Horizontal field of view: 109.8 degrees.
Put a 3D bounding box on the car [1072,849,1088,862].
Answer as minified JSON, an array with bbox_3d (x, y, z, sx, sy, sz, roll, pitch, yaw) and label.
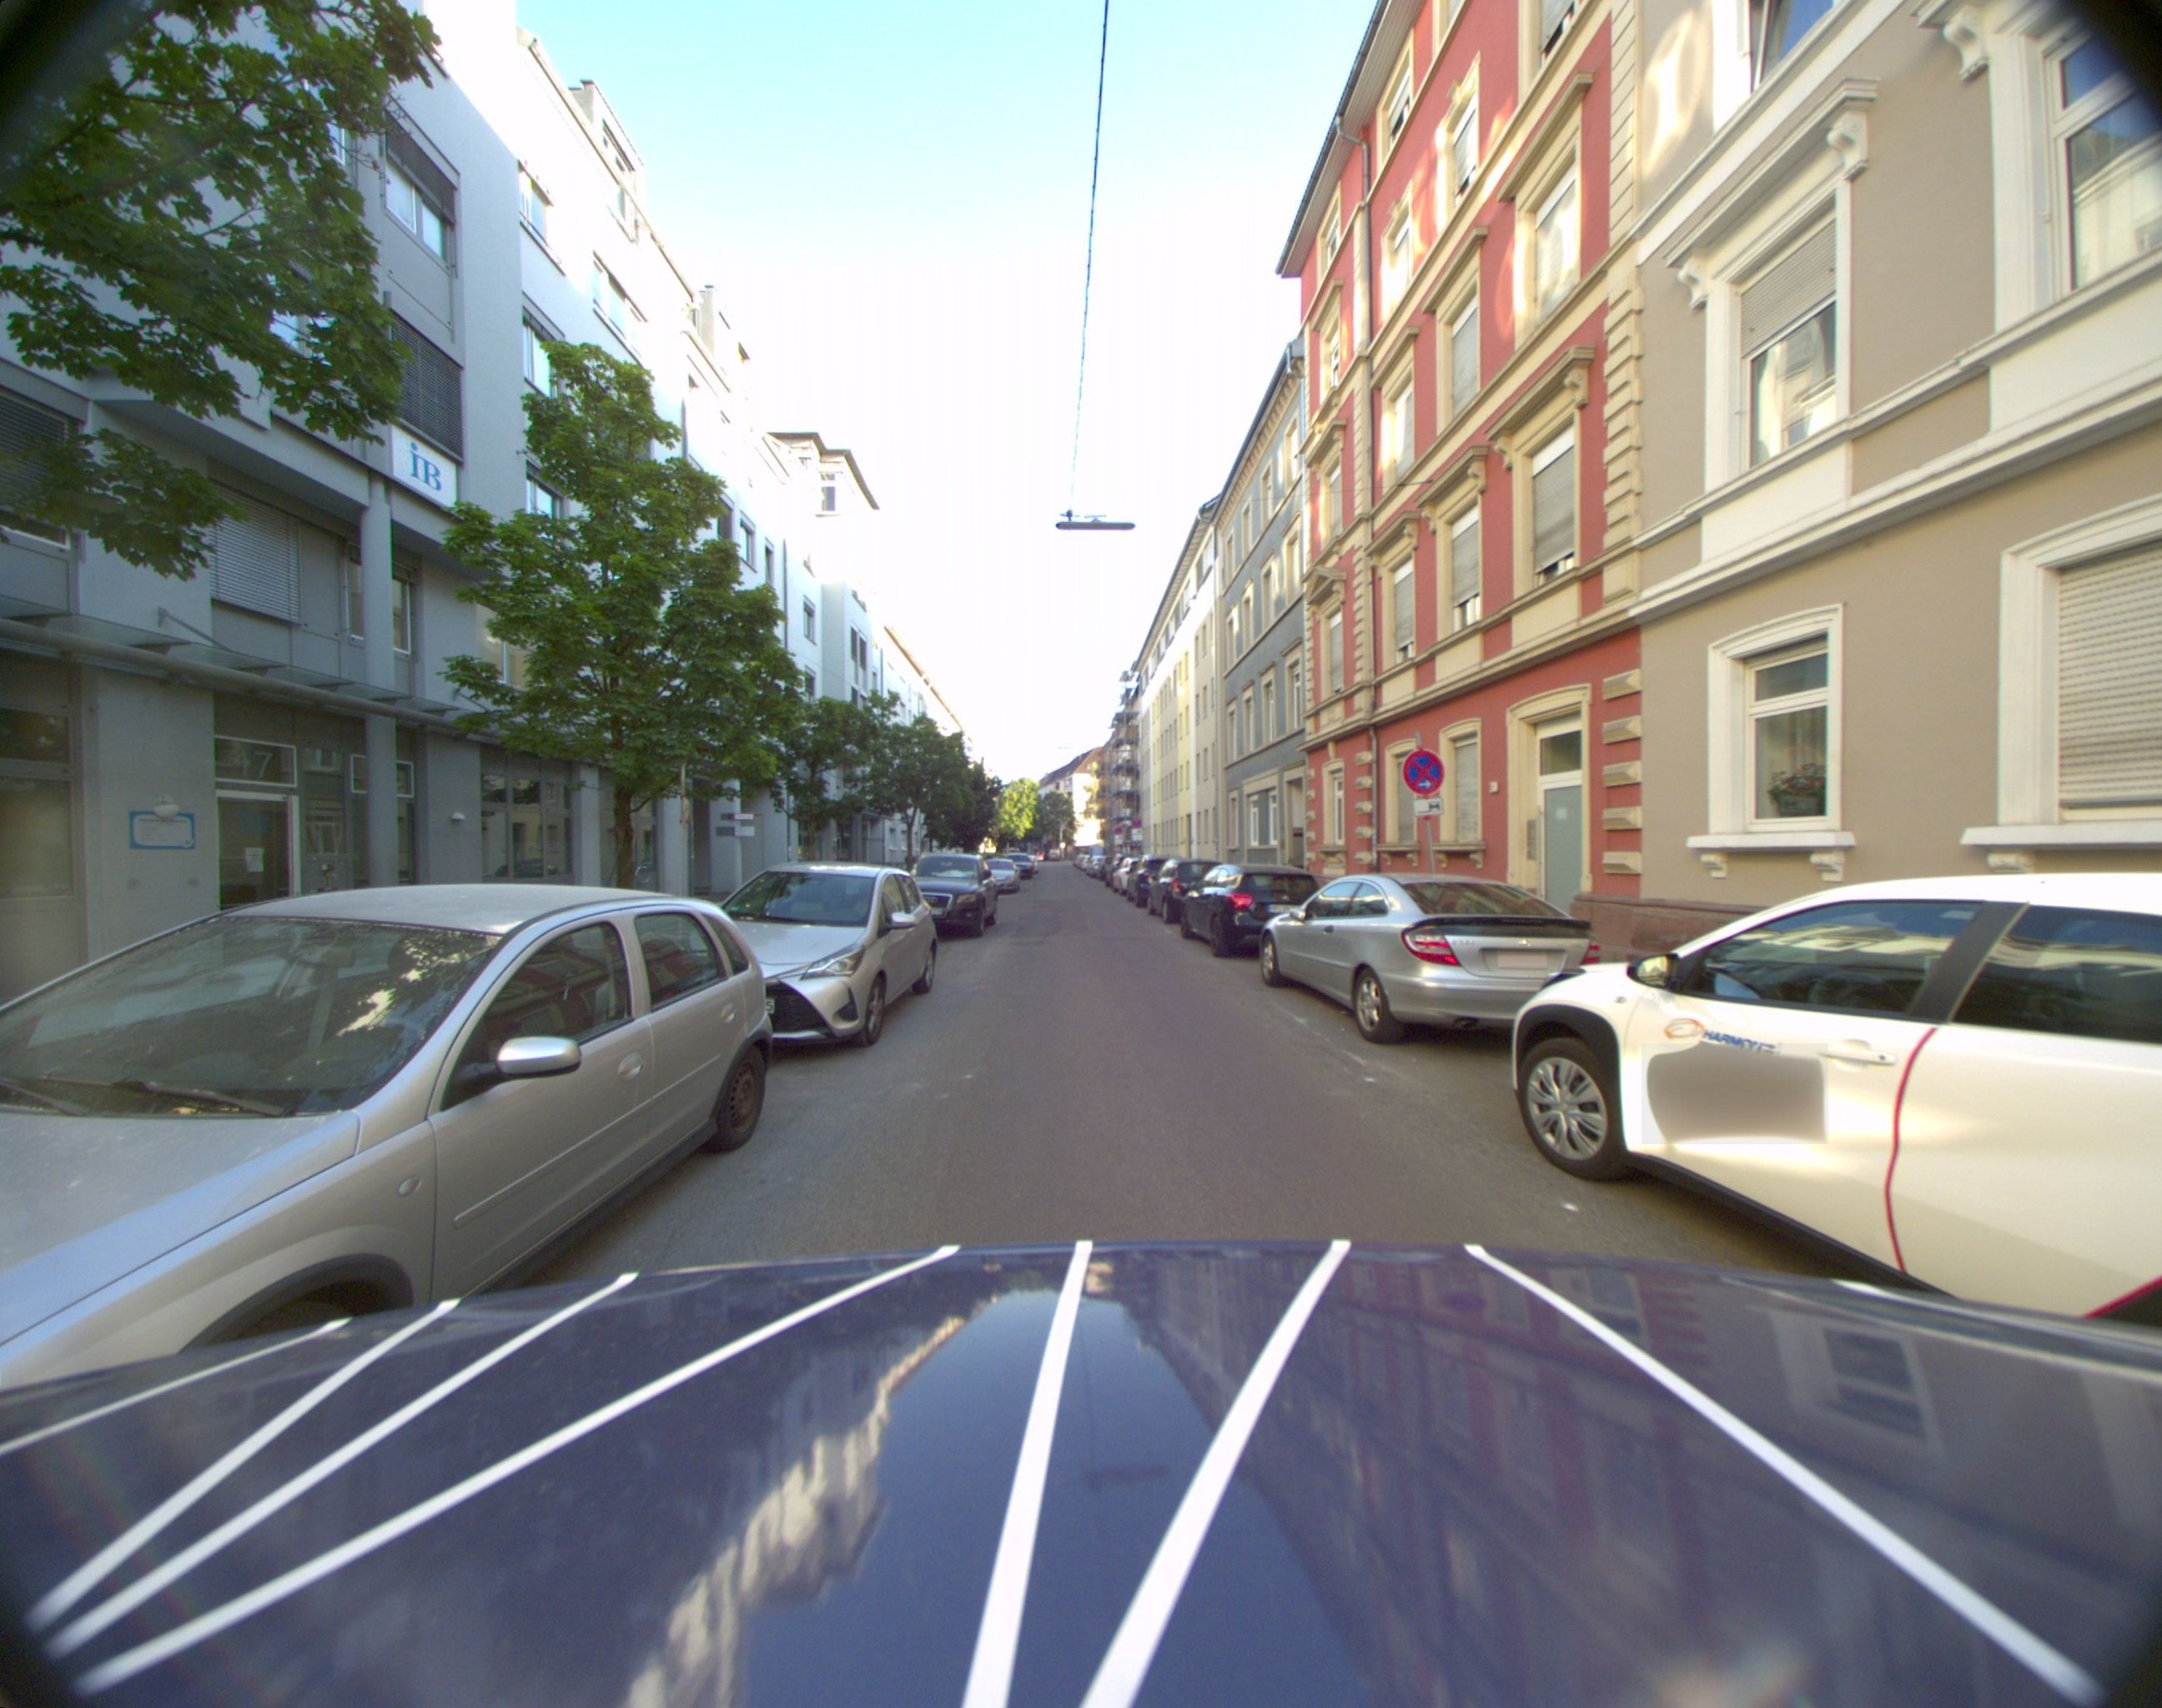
[{"bbox_3d":[-0.173,0.179,102.454,1.999,1.783,3.999,-1,0,-2],"label":"car"}]

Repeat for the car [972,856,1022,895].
[{"bbox_3d":[-3.527,0.859,32.599,1.856,1.480,3.998,-1,0,-3],"label":"car"}]

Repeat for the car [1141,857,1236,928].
[{"bbox_3d":[2.549,0.859,18.917,1.537,1.490,4.194,1,1,-3],"label":"car"}]

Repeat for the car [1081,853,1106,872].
[{"bbox_3d":[1.110,0.738,69.741,1.999,1.576,4.492,-1,1,-3],"label":"car"}]

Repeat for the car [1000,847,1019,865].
[{"bbox_3d":[-8.296,0.162,88.339,1.999,2.002,3.998,-1,1,-3],"label":"car"}]

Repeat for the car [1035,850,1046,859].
[{"bbox_3d":[-7.044,0.118,132.306,1.703,1.537,3.829,-3,1,-1],"label":"car"}]

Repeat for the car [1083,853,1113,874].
[{"bbox_3d":[1.185,0.660,54.858,1.999,1.437,3.999,-1,0,-2],"label":"car"}]

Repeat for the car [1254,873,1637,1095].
[{"bbox_3d":[3.053,0.986,7.390,1.614,1.420,3.960,2,1,-3],"label":"car"}]

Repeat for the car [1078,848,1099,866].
[{"bbox_3d":[0.763,0.307,79.979,1.999,1.783,3.999,-1,0,-2],"label":"car"}]

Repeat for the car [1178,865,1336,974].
[{"bbox_3d":[2.764,0.967,12.793,1.589,1.407,3.911,3,0,-2],"label":"car"}]

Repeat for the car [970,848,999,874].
[{"bbox_3d":[-7.820,0.504,61.632,1.999,2.002,3.998,-1,1,-3],"label":"car"}]

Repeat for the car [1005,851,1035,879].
[{"bbox_3d":[-3.912,0.666,49.075,1.856,1.649,3.998,-1,0,-4],"label":"car"}]

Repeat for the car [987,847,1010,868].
[{"bbox_3d":[-8.155,0.305,75.616,1.999,2.002,3.998,-1,1,-3],"label":"car"}]

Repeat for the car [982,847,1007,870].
[{"bbox_3d":[-8.090,0.403,71.127,1.999,2.002,3.998,-1,1,-3],"label":"car"}]

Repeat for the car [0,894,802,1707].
[{"bbox_3d":[-2.665,1.009,2.874,1.638,1.439,4.066,-1,0,1],"label":"car"}]

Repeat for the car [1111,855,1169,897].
[{"bbox_3d":[2.235,0.803,29.857,1.662,1.420,4.351,-1,1,-4],"label":"car"}]

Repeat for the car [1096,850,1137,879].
[{"bbox_3d":[2.038,0.576,44.891,1.999,1.576,4.492,-1,1,-3],"label":"car"}]

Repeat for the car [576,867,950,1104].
[{"bbox_3d":[-2.629,0.979,7.462,1.913,1.576,4.000,-1,0,1],"label":"car"}]

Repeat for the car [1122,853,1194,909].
[{"bbox_3d":[2.334,0.774,23.922,1.598,1.513,4.428,-1,1,-2],"label":"car"}]

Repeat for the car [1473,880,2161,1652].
[{"bbox_3d":[3.125,0.949,2.412,1.688,1.487,3.843,3,1,0],"label":"car"}]

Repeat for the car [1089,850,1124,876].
[{"bbox_3d":[1.623,0.571,49.579,1.999,1.566,4.148,-1,0,-2],"label":"car"}]

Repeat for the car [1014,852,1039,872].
[{"bbox_3d":[-4.375,0.639,61.526,1.903,1.510,4.222,-1,0,-3],"label":"car"}]

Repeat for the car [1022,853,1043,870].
[{"bbox_3d":[-4.378,0.648,69.285,1.856,1.480,3.998,-1,0,-3],"label":"car"}]

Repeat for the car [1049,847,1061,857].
[{"bbox_3d":[-4.565,-0.330,132.278,1.999,1.783,3.999,-1,0,-2],"label":"car"}]

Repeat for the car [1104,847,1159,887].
[{"bbox_3d":[2.247,0.539,34.971,1.999,1.640,4.492,-1,1,-3],"label":"car"}]

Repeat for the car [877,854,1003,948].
[{"bbox_3d":[-2.857,0.883,16.365,1.863,1.679,4.389,-1,0,0],"label":"car"}]
